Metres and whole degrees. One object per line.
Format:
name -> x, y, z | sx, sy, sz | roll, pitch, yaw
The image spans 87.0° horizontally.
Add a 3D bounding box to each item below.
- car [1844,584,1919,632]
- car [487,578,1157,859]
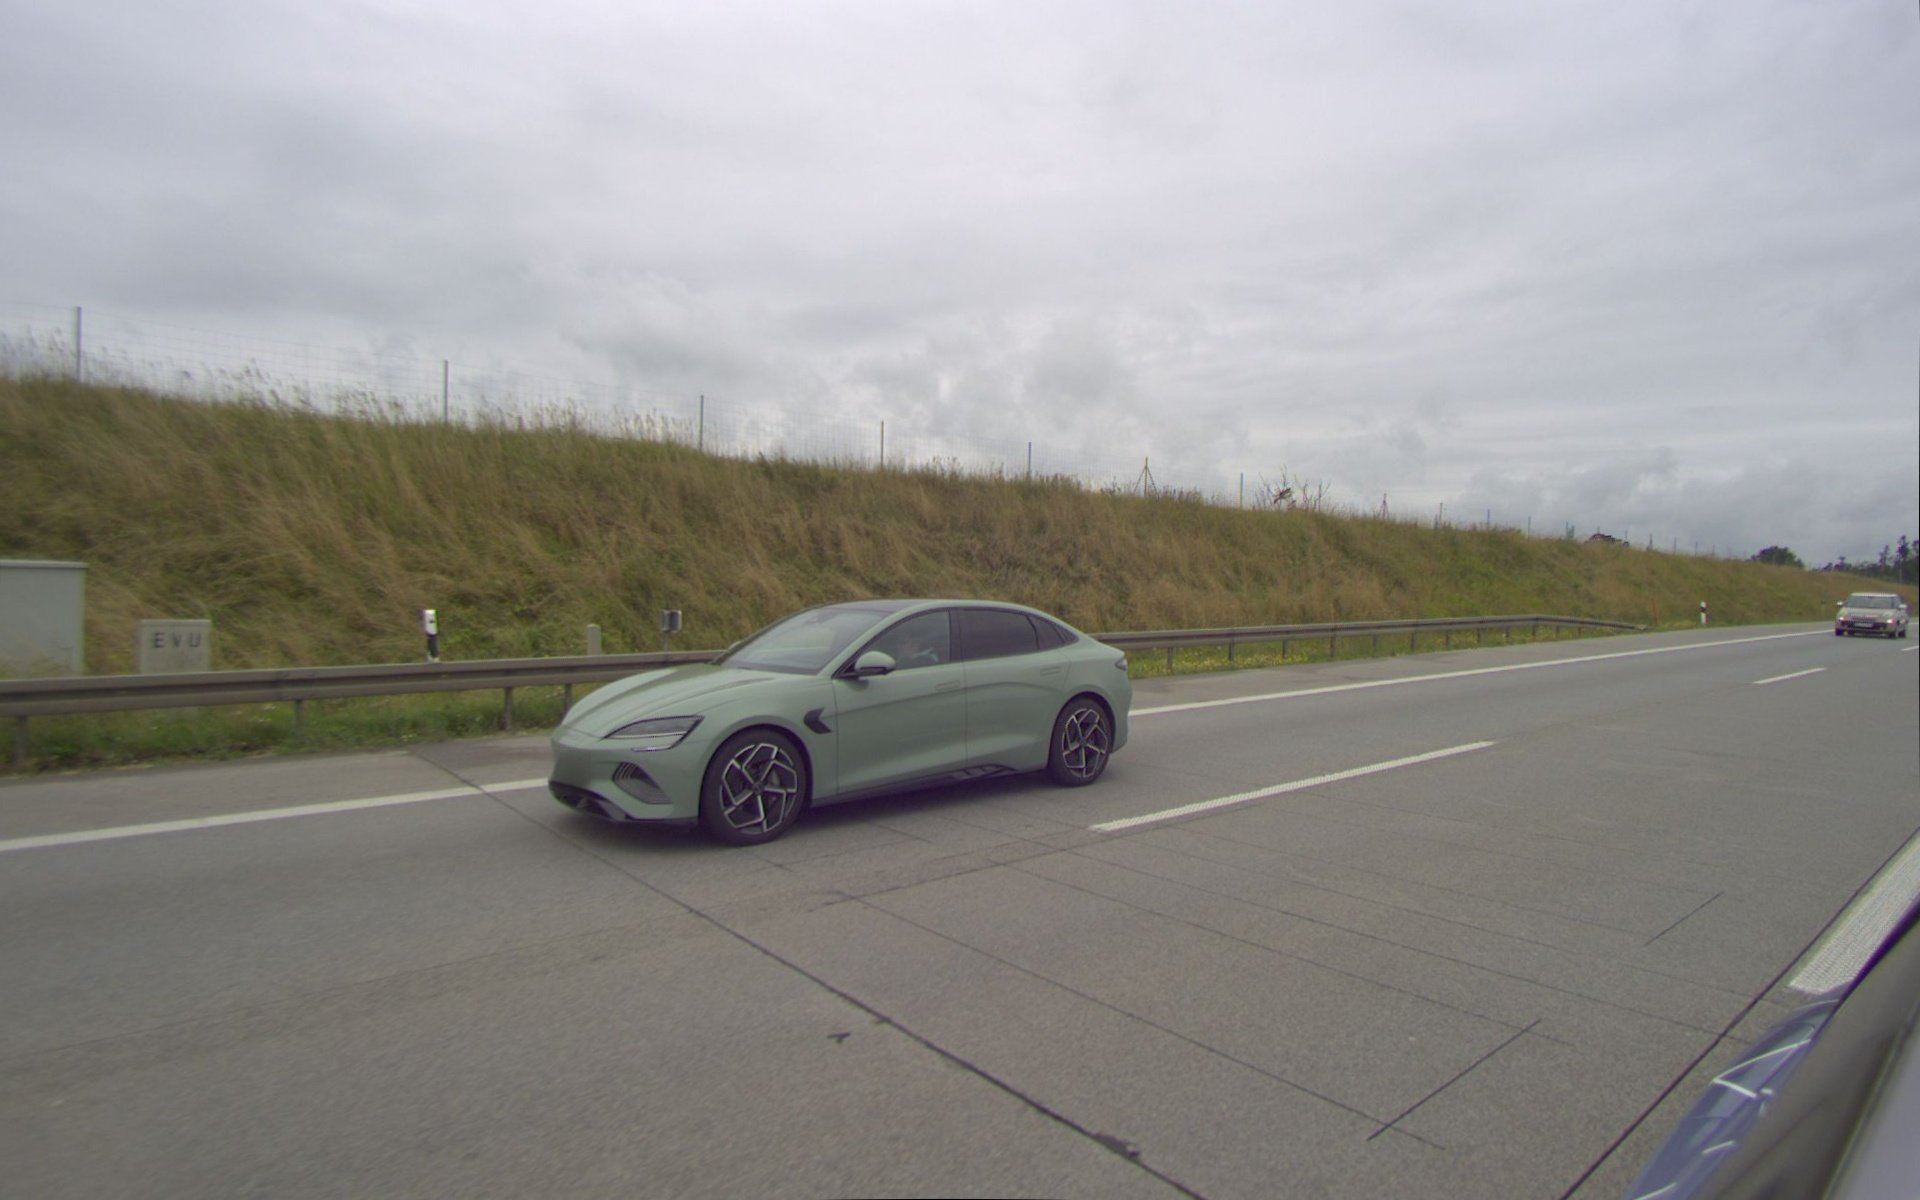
car -> 34.905, 0.327, 38.092 | 4.490, 1.624, 1.789 | 1, 2, -41
car -> -0.777, 0.670, 7.599 | 4.661, 1.464, 2.017 | 1, -2, -41
